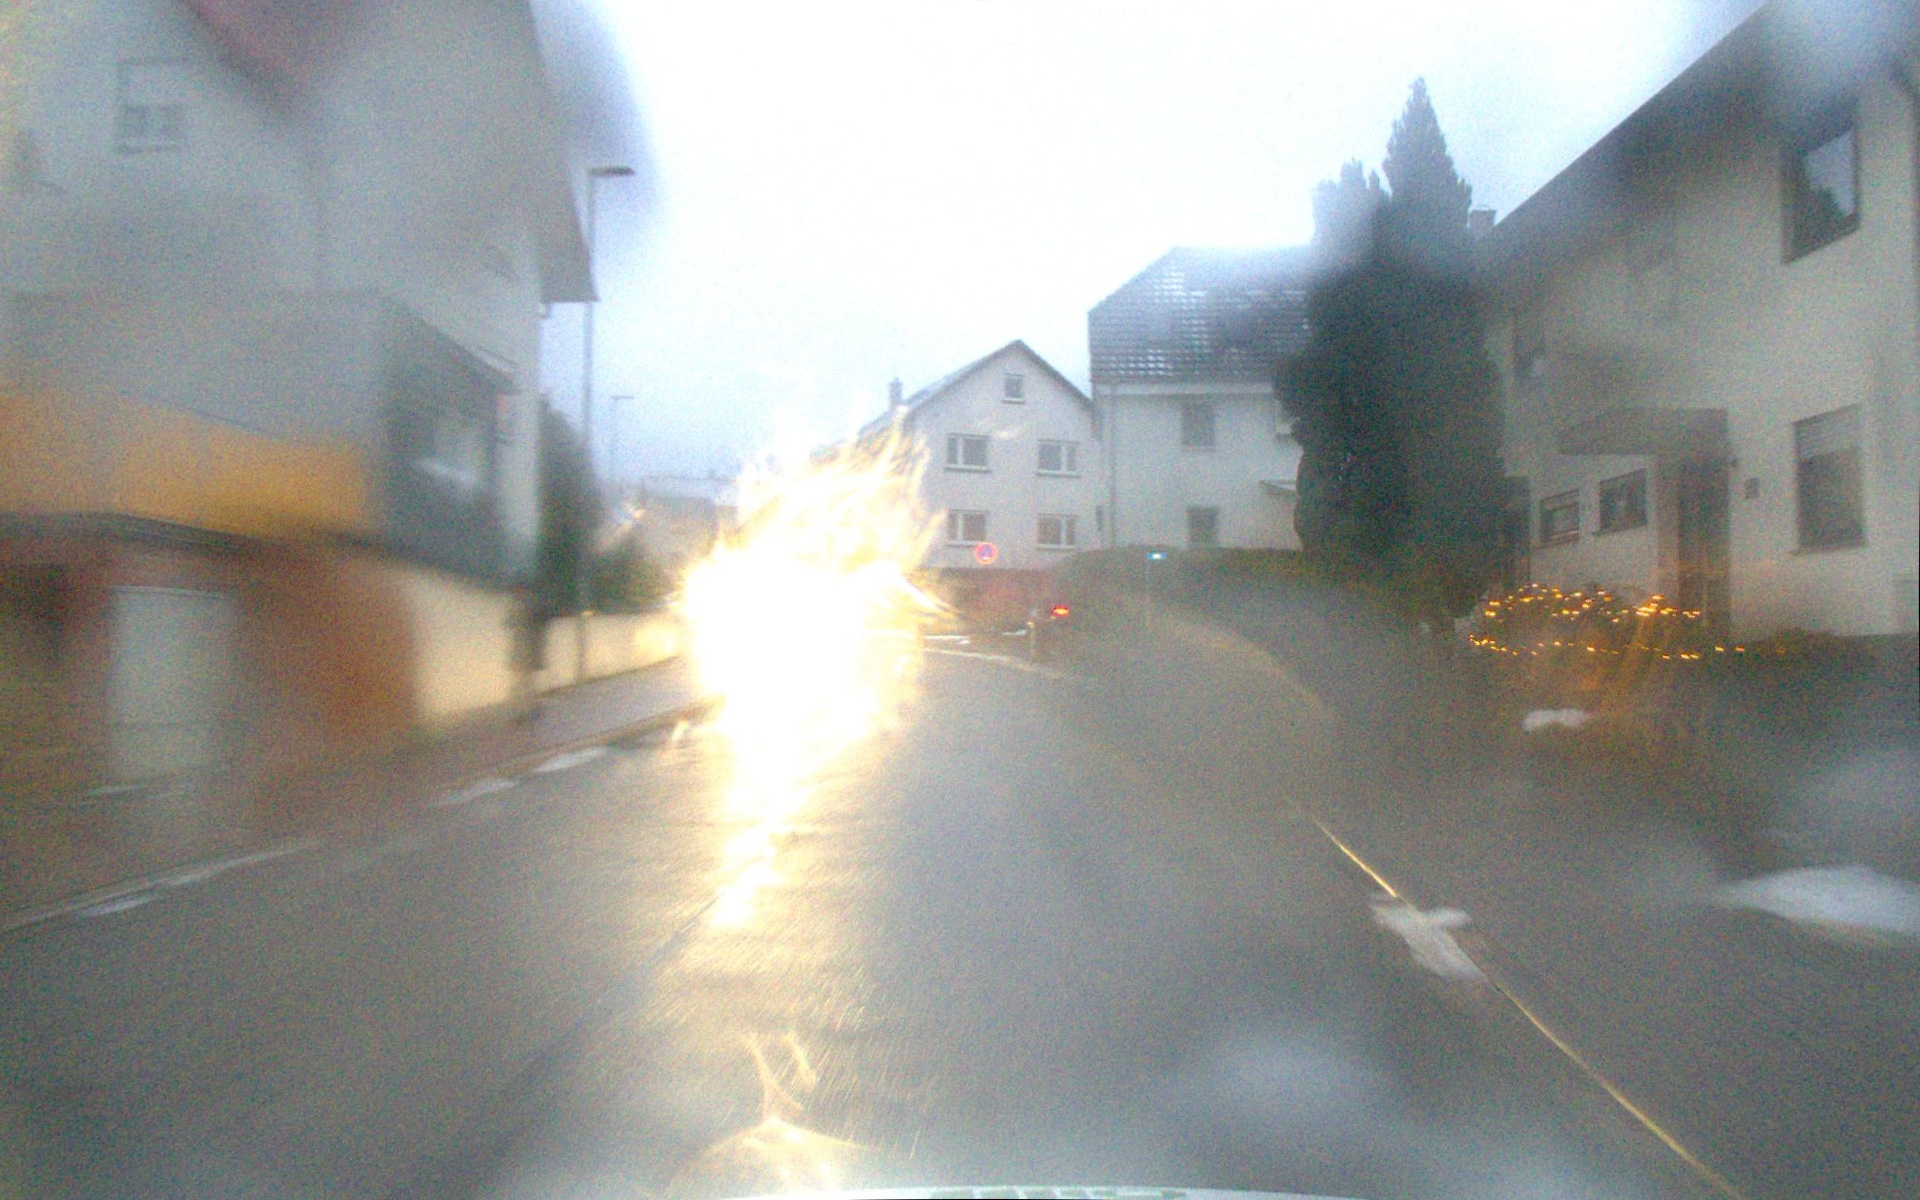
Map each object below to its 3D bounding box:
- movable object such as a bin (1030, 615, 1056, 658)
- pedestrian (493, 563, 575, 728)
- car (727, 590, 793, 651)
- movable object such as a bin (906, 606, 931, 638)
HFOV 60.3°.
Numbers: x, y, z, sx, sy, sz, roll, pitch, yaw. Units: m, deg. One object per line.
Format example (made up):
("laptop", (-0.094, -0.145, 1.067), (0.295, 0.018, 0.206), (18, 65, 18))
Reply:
("movable object such as a bin", (1.889, 0.831, 37.708), (0.526, 0.954, 0.689), (1, 0, -2))
("pedestrian", (-4.705, 0.503, 18.297), (0.585, 1.763, 0.812), (2, -2, 3))
("car", (-7.049, 0.704, 58.745), (2.069, 2.062, 4.978), (0, 0, -4))
("movable object such as a bin", (-1.253, 0.659, 49.637), (0.626, 0.933, 0.683), (1, 0, -13))
